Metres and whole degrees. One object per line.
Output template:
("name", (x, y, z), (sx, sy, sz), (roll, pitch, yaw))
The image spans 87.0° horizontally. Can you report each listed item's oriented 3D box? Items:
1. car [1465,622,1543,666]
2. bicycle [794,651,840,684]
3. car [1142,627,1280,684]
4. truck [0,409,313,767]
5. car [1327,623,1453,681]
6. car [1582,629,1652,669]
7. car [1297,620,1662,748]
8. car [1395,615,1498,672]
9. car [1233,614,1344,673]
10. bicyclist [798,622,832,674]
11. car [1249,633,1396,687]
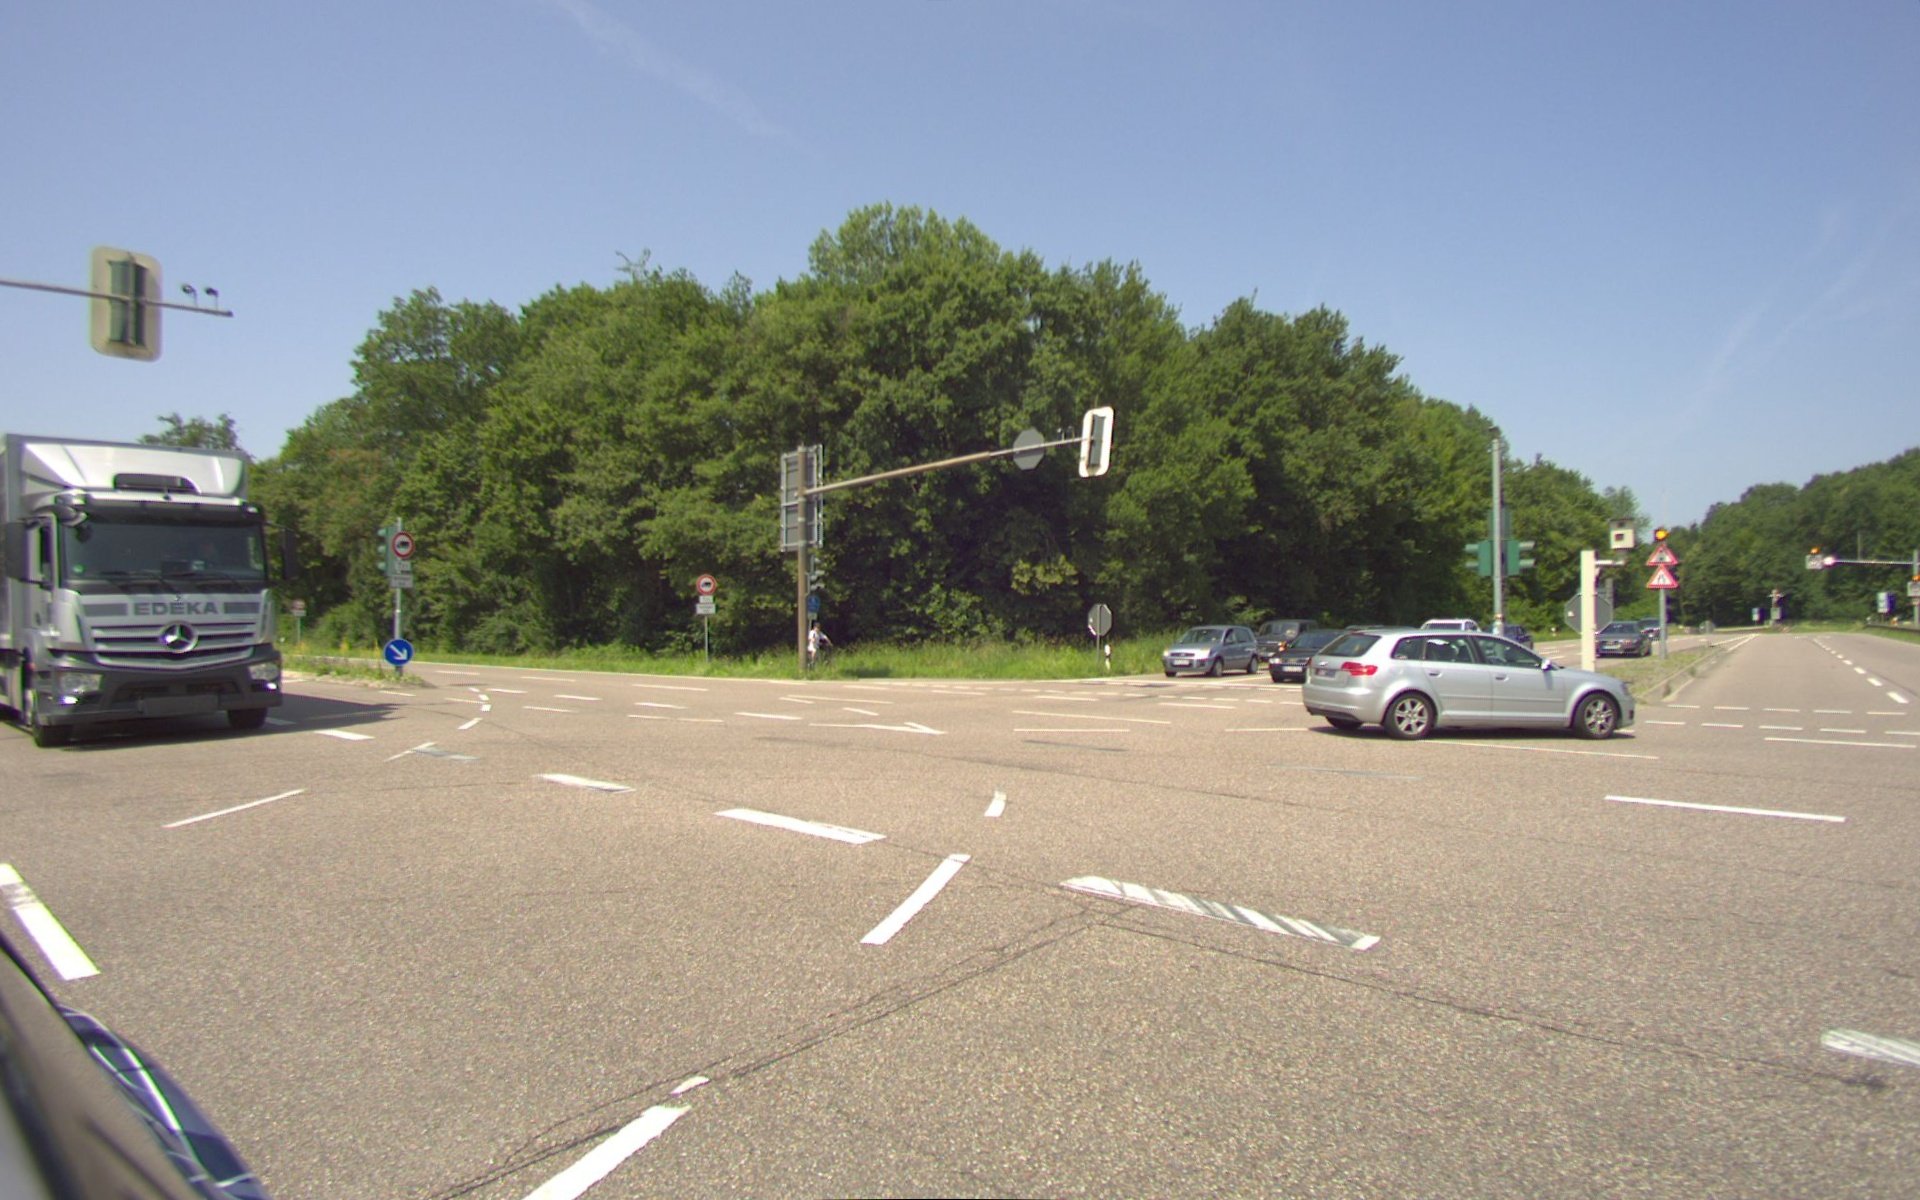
("car", (22.993, 1.825, 42.654), (1.998, 1.770, 4.757), (-2, -3, 39))
("bicycle", (-4.202, 1.958, 29.649), (0.558, 0.930, 1.608), (1, -2, -39))
("car", (7.676, 1.610, 30.607), (2.128, 1.579, 4.755), (-2, -3, 41))
("truck", (-13.648, 0.000, 15.785), (11.311, 3.914, 2.718), (-2, -1, 40))
("car", (13.400, 1.558, 31.420), (2.001, 1.648, 4.750), (-2, -3, 44))
("car", (26.870, 1.979, 41.345), (1.860, 1.530, 4.757), (-2, -2, 39))
("car", (6.782, 1.040, 13.420), (3.951, 1.402, 1.774), (-2, -1, -9))
("car", (17.521, 1.531, 36.351), (2.066, 1.910, 4.754), (-2, -3, 42))
("car", (11.424, 1.481, 35.008), (1.999, 1.913, 4.755), (-2, -3, 40))
("bicyclist", (-4.258, 1.404, 29.719), (0.651, 1.476, 0.811), (1, -3, -39))
("car", (9.810, 1.547, 27.182), (2.105, 1.300, 4.754), (-2, -3, 41))
